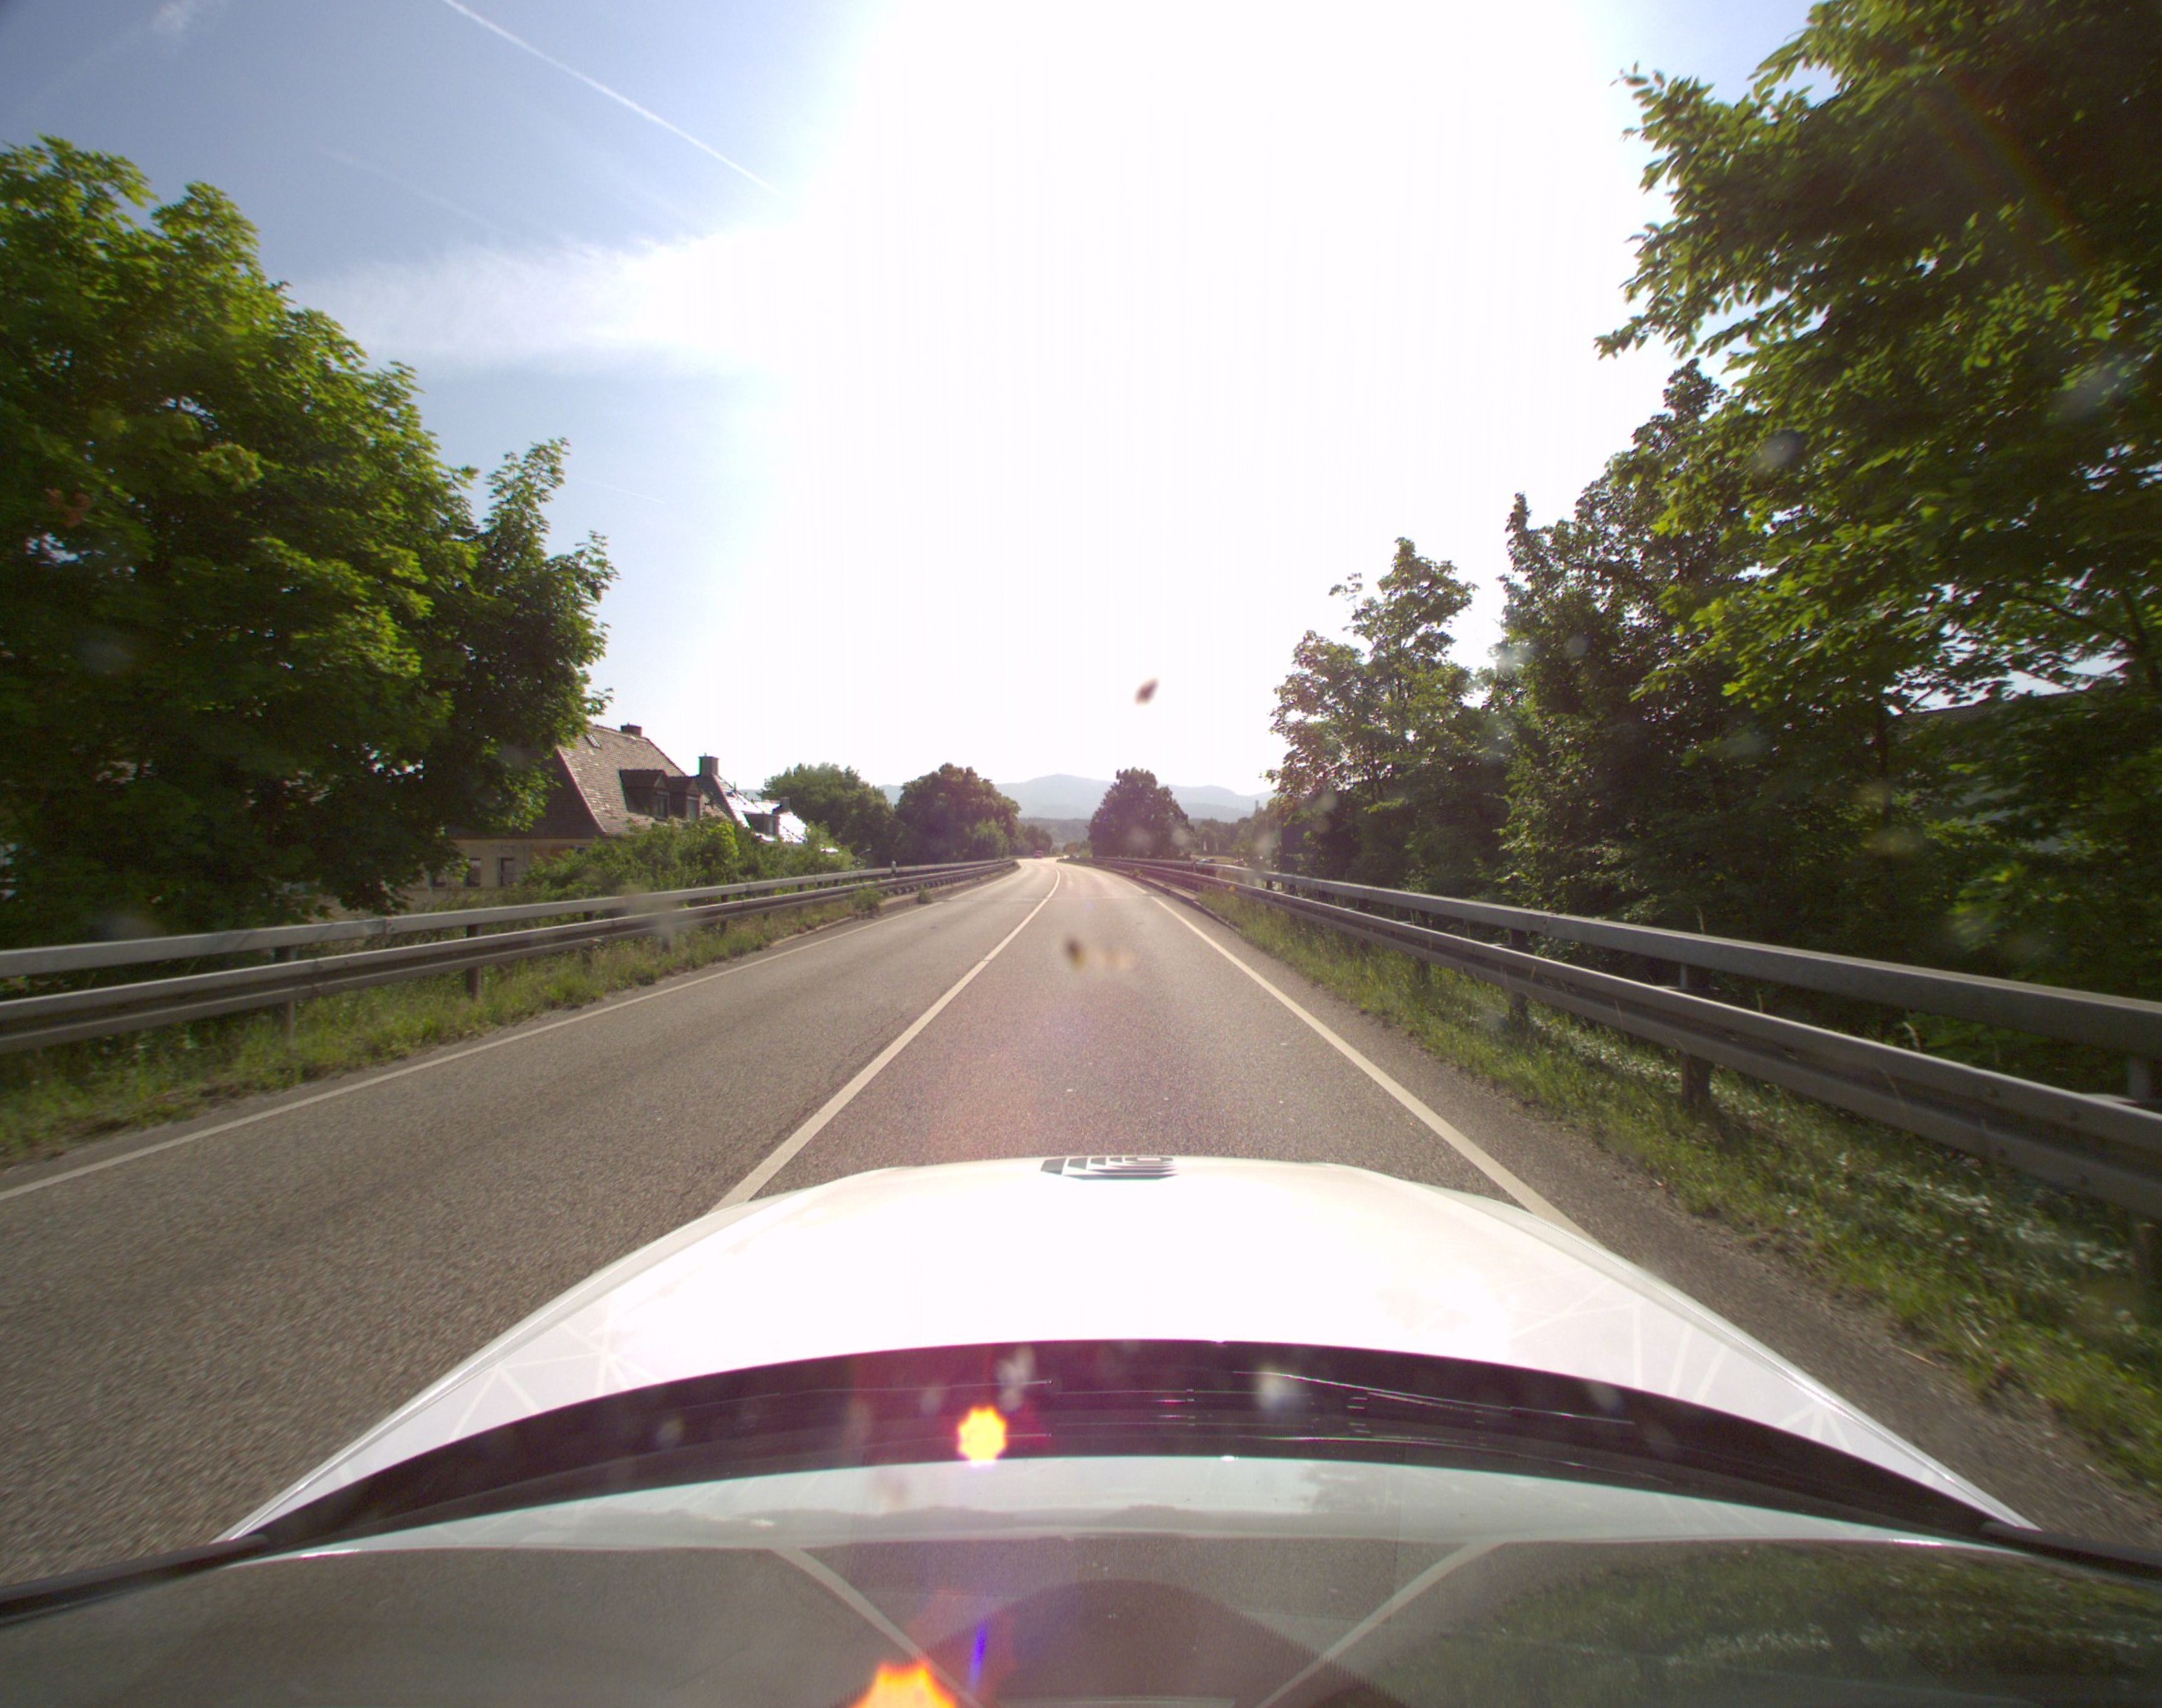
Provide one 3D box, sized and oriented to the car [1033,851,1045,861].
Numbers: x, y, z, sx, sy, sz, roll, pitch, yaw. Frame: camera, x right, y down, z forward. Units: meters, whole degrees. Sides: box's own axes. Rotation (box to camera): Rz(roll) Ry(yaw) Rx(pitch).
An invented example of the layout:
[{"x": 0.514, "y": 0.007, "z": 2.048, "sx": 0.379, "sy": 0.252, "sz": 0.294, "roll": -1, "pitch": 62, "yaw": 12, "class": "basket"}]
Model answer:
[{"x": -12.547, "y": 0.537, "z": 240.549, "sx": 3.167, "sy": 2.639, "sz": 8.386, "roll": 4, "pitch": 0, "yaw": -4, "class": "car"}]
